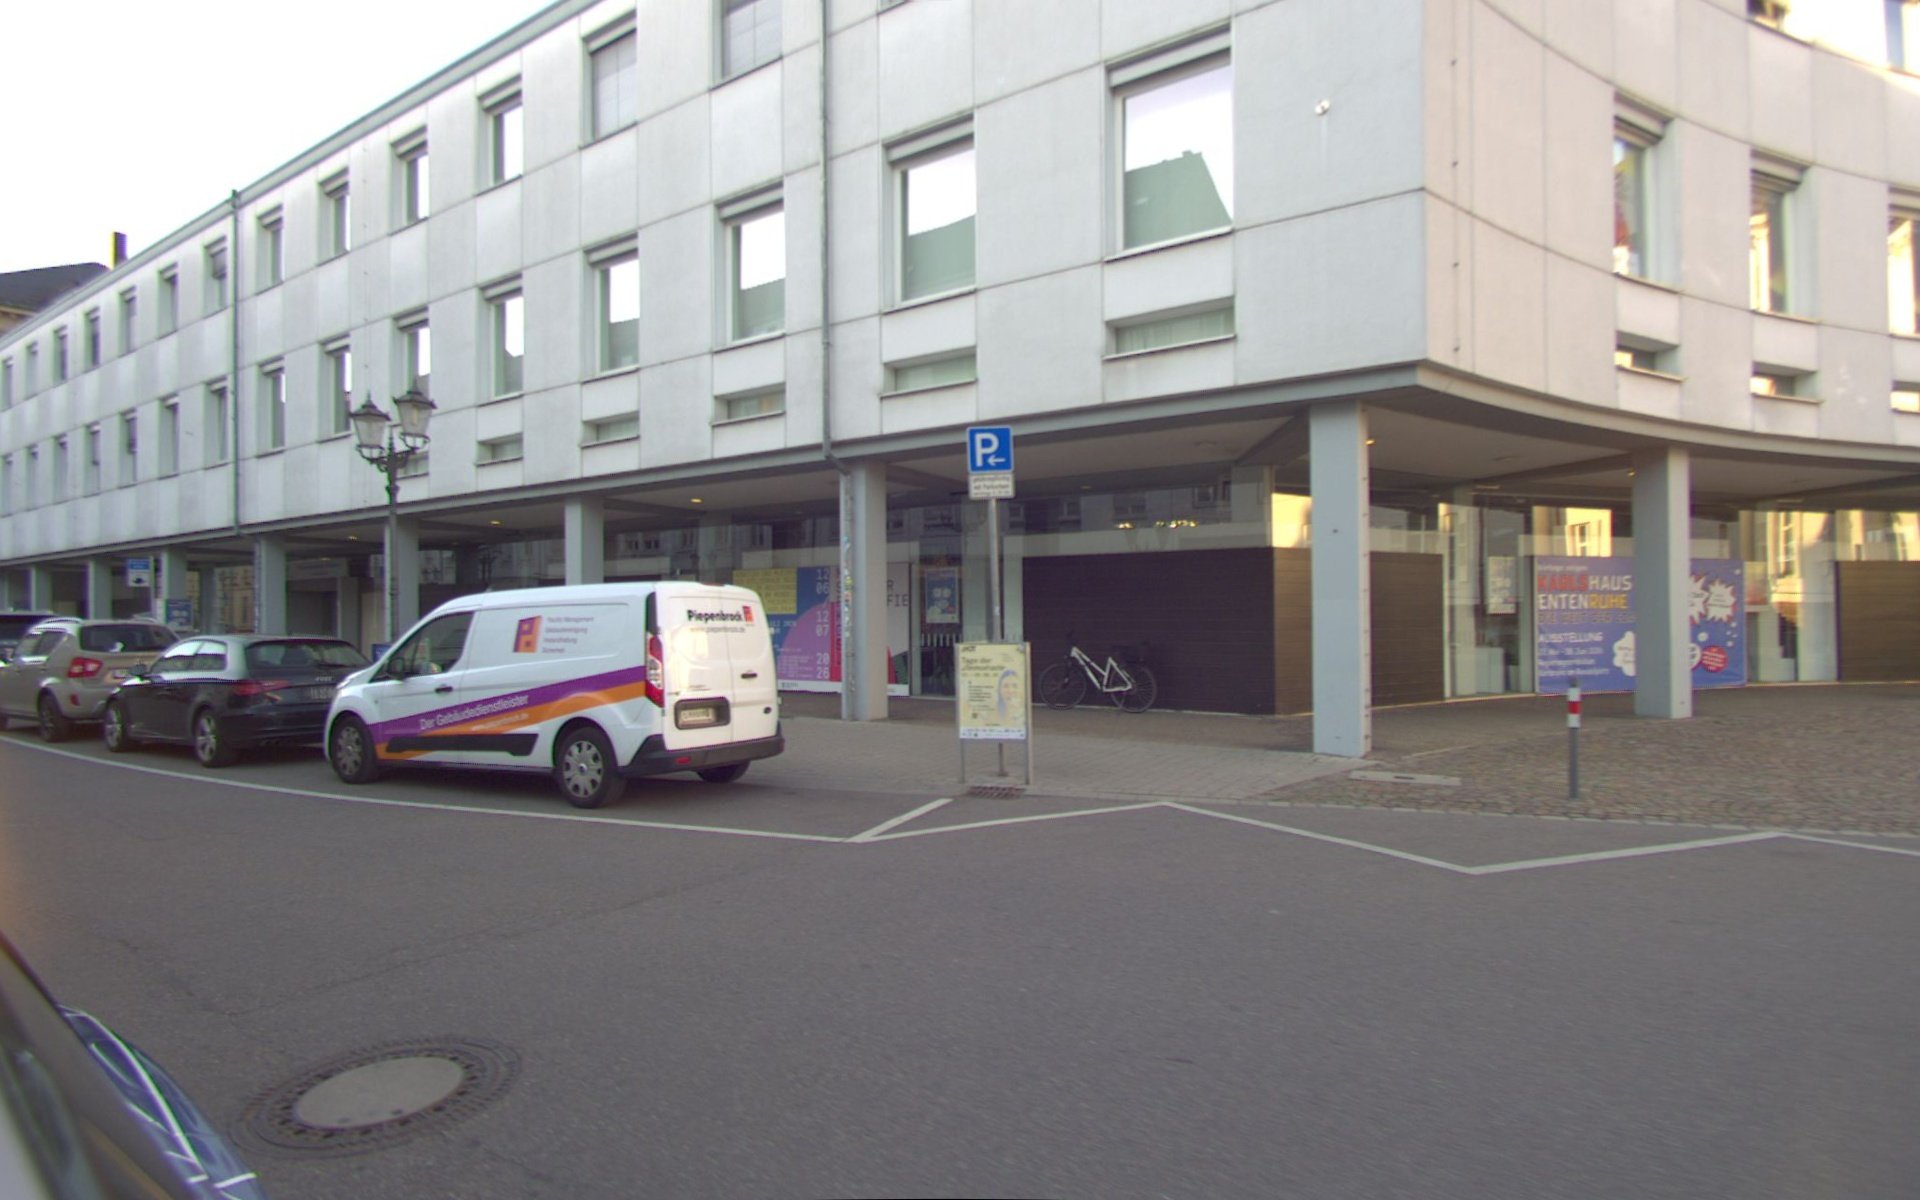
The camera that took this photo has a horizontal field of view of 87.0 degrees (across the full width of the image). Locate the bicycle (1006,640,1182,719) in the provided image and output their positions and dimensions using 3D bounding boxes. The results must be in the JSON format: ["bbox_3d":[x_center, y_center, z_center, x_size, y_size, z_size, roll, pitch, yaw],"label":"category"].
[{"bbox_3d":[1.827,1.064,14.024,2.329,0.991,0.727,-1,0,34],"label":"bicycle"}]

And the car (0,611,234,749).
[{"bbox_3d":[-12.401,1.039,14.512,3.989,1.674,1.977,-1,0,34],"label":"car"}]

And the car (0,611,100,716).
[{"bbox_3d":[-17.498,1.101,18.257,4.506,1.741,1.976,-1,-2,36],"label":"car"}]

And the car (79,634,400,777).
[{"bbox_3d":[-8.475,1.108,11.814,4.092,1.364,1.665,-1,-1,33],"label":"car"}]

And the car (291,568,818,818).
[{"bbox_3d":[-3.845,0.729,9.426,4.762,1.829,1.981,-1,-1,28],"label":"car"}]
